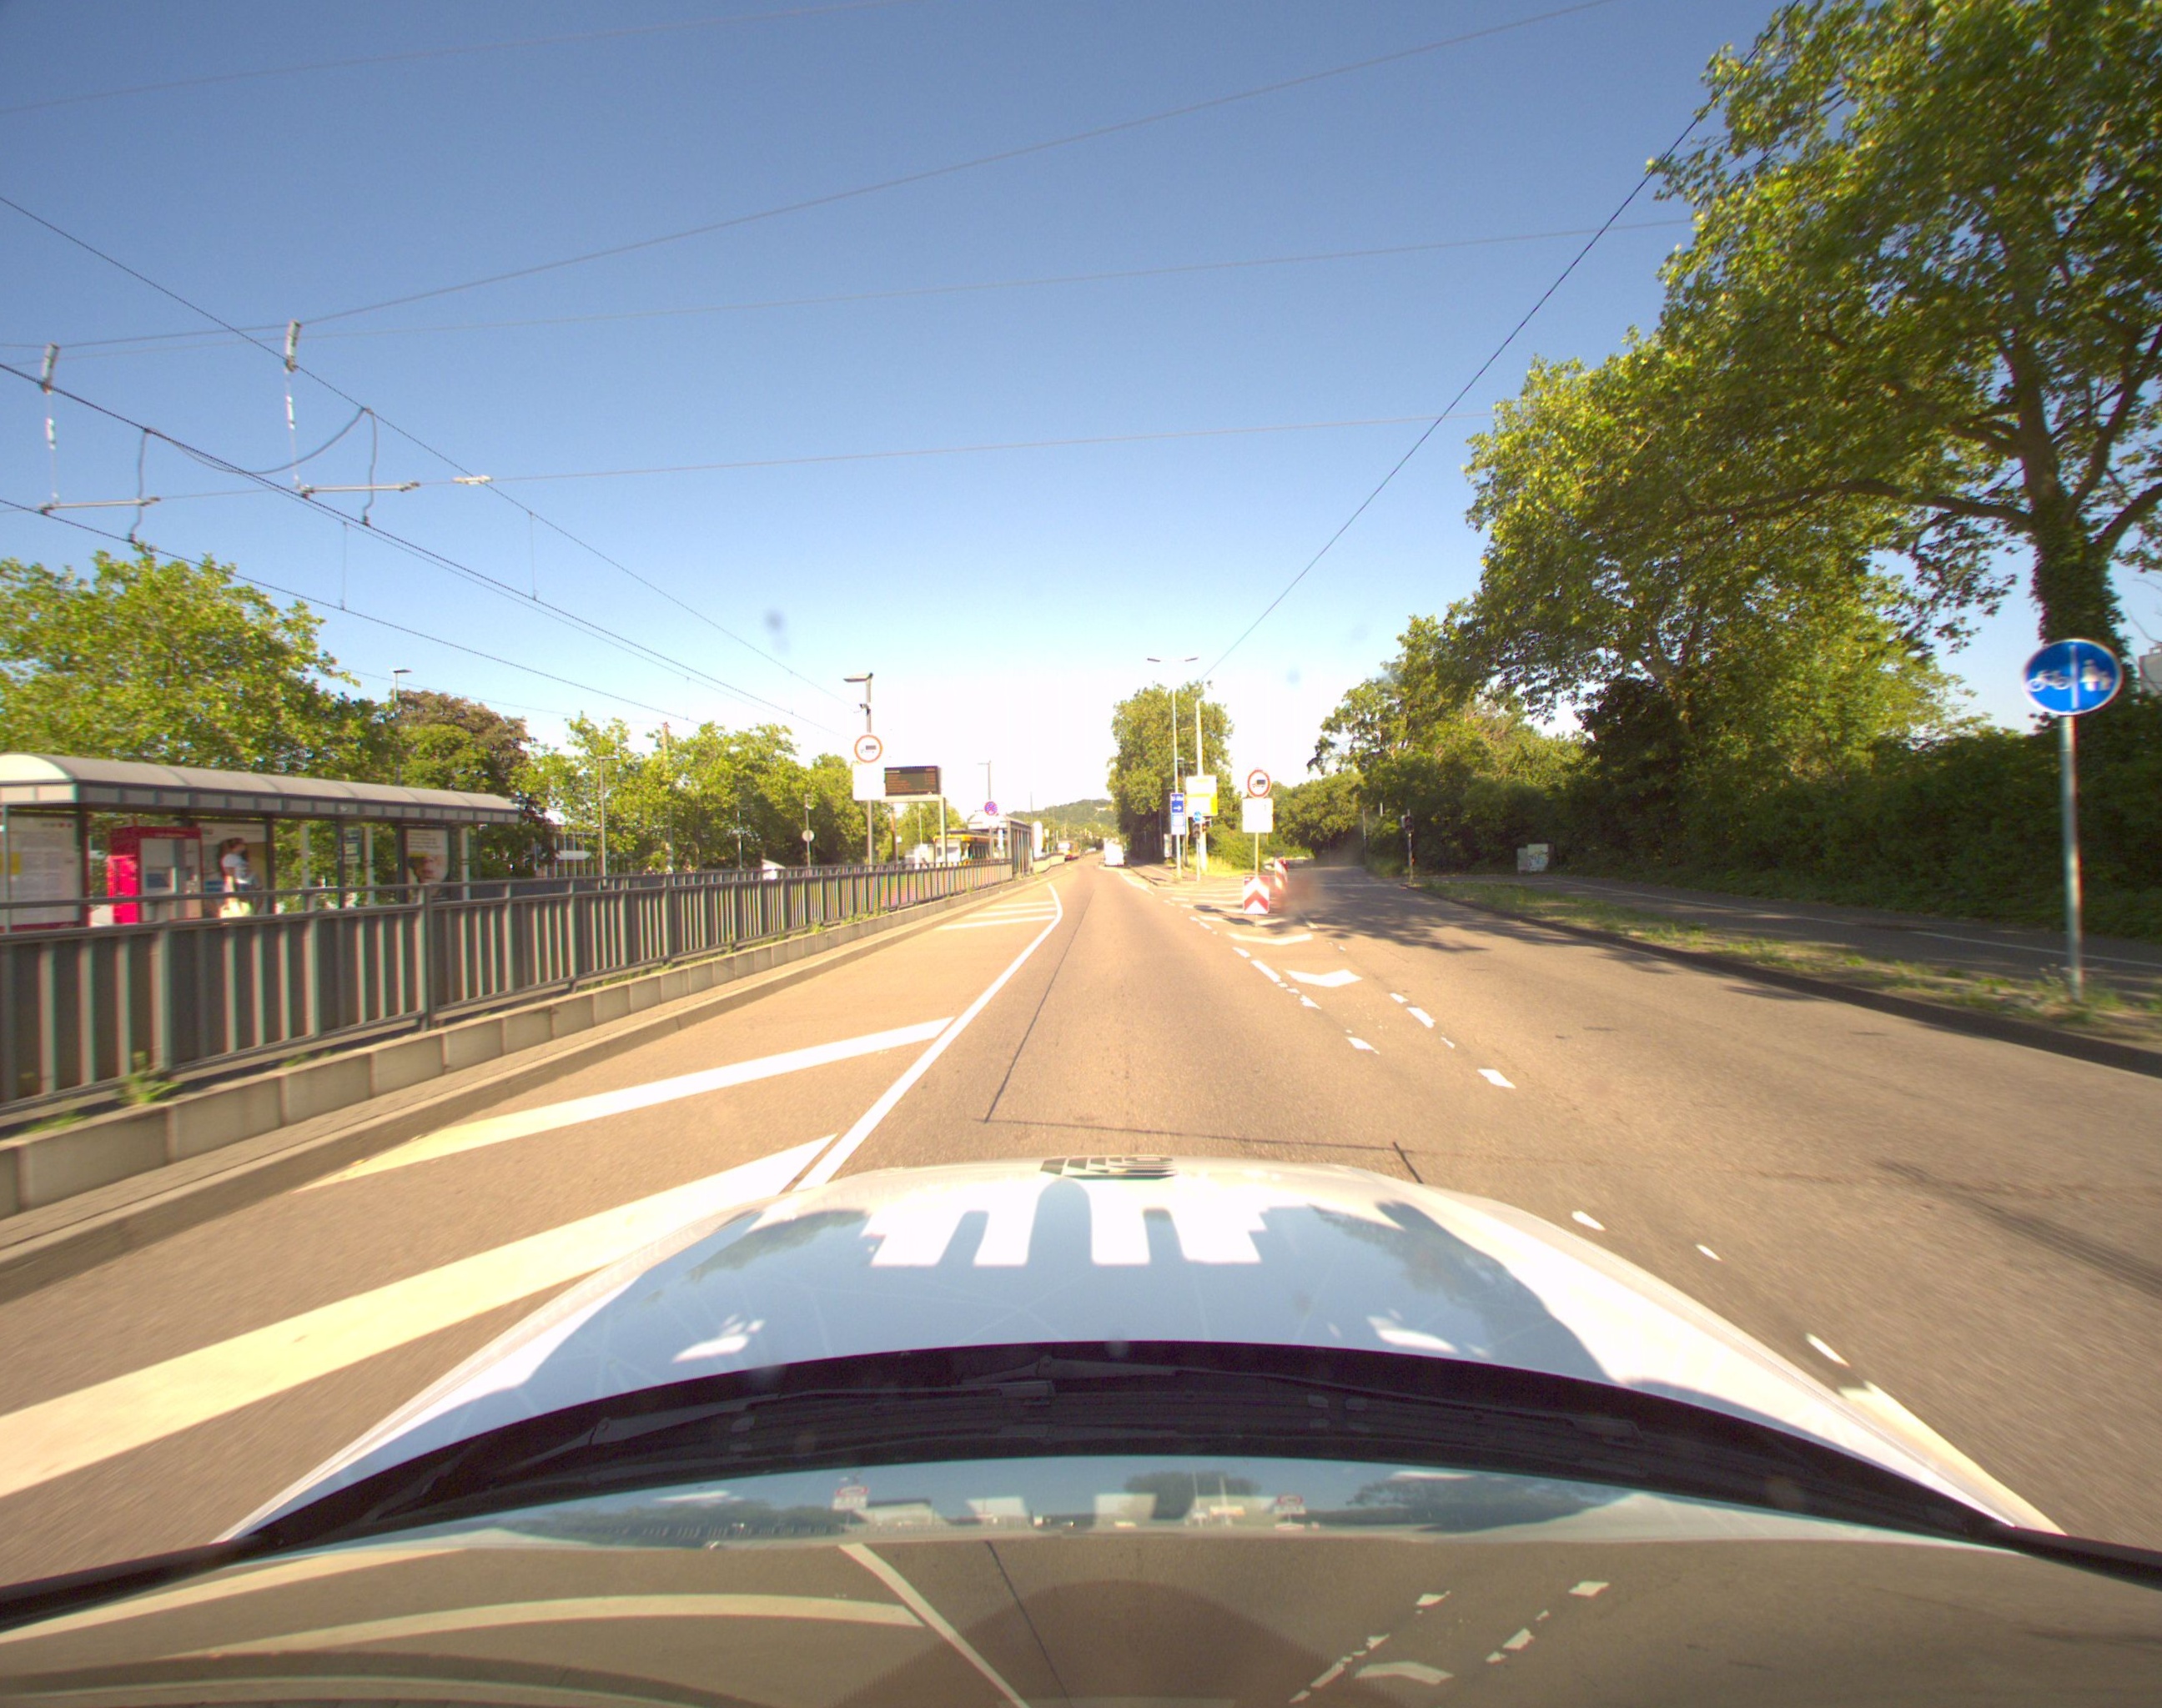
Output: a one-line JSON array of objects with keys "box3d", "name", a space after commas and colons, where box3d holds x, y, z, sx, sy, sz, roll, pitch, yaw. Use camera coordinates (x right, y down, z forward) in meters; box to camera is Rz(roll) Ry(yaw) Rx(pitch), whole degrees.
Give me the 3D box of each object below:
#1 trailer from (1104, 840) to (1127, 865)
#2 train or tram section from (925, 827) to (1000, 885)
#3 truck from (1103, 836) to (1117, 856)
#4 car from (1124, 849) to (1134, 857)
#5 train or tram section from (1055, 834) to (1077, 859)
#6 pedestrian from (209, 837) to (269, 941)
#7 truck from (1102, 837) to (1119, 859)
[{"box3d": [3.995, -0.143, 92.940, 2.240, 2.694, 5.955, -1, 0, 5], "name": "trailer"}, {"box3d": [-9.003, 0.115, 64.535, 2.816, 4.005, 15.886, -1, 0, 3], "name": "train or tram section"}, {"box3d": [5.596, -1.529, 159.148, 2.707, 3.783, 9.765, 0, 0, 2], "name": "truck"}, {"box3d": [8.651, -0.156, 147.299, 1.646, 1.437, 3.780, -2, 0, 3], "name": "car"}, {"box3d": [-2.539, -1.345, 142.194, 2.711, 4.090, 13.623, -3, 0, 2], "name": "train or tram section"}, {"box3d": [-14.663, 0.587, 14.195, 0.591, 1.757, 0.693, -1, 0, -35], "name": "pedestrian"}, {"box3d": [5.099, -1.055, 140.914, 2.732, 3.783, 10.093, 0, 0, 2], "name": "truck"}]
